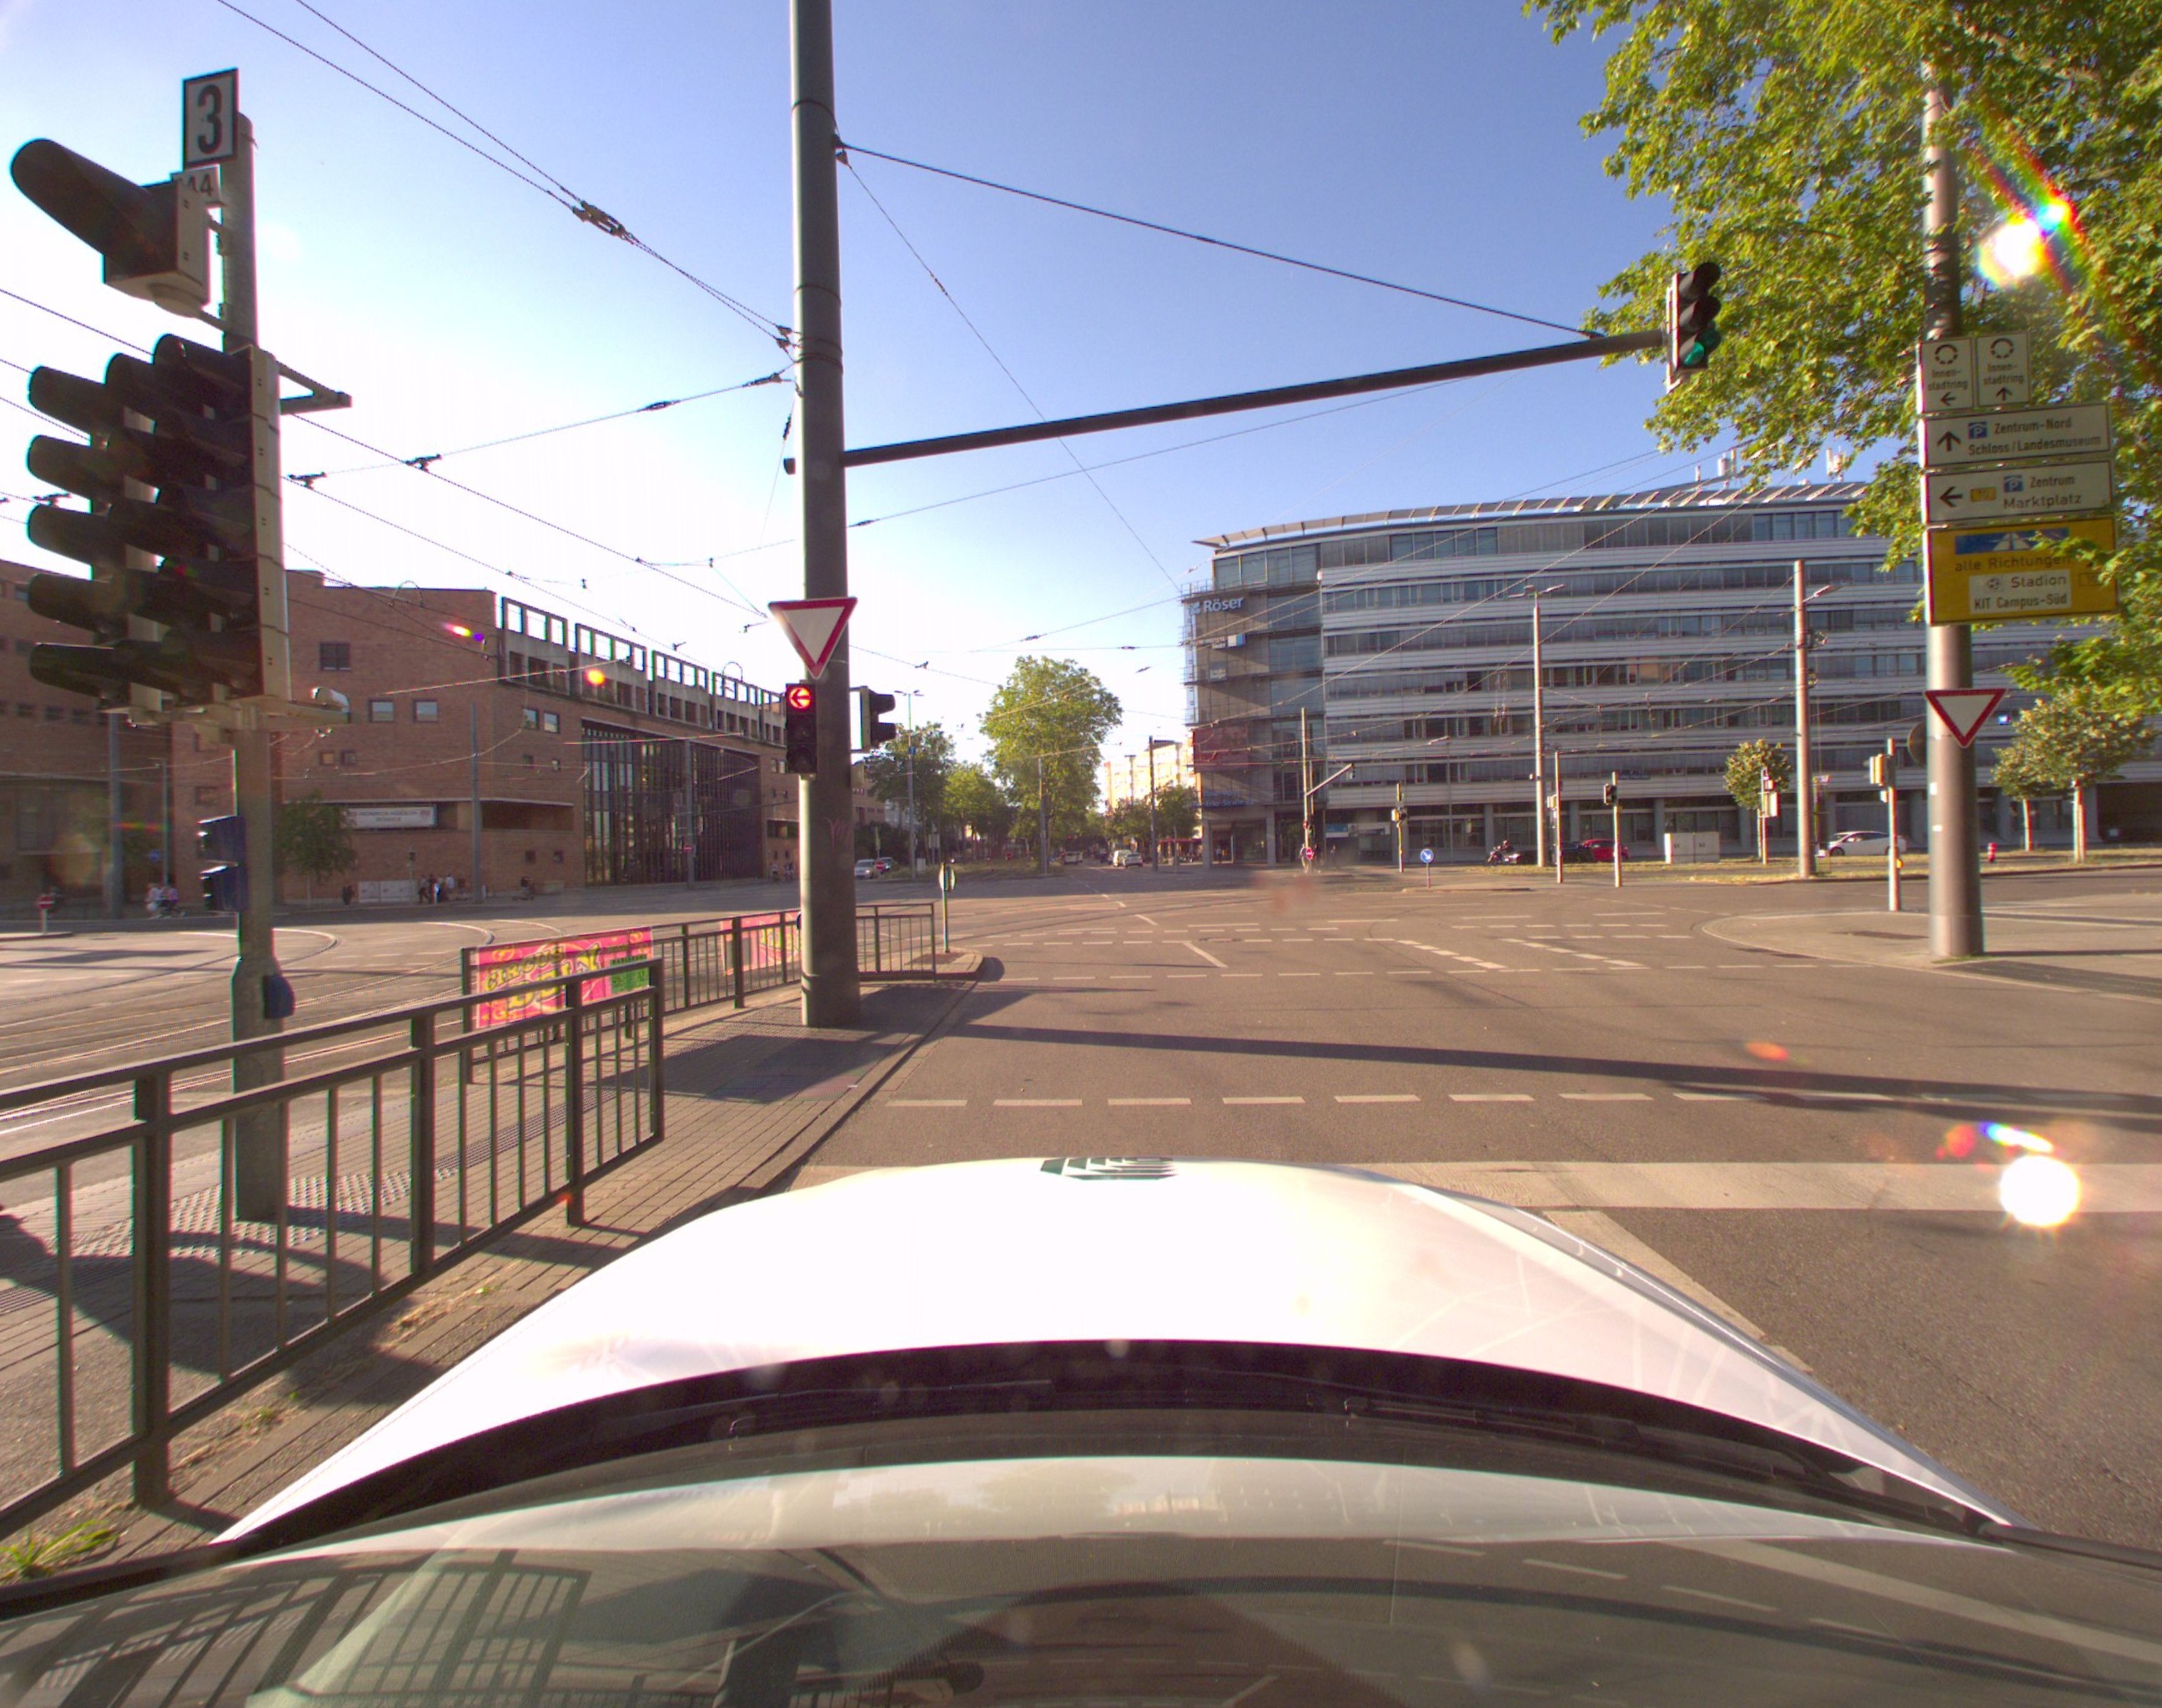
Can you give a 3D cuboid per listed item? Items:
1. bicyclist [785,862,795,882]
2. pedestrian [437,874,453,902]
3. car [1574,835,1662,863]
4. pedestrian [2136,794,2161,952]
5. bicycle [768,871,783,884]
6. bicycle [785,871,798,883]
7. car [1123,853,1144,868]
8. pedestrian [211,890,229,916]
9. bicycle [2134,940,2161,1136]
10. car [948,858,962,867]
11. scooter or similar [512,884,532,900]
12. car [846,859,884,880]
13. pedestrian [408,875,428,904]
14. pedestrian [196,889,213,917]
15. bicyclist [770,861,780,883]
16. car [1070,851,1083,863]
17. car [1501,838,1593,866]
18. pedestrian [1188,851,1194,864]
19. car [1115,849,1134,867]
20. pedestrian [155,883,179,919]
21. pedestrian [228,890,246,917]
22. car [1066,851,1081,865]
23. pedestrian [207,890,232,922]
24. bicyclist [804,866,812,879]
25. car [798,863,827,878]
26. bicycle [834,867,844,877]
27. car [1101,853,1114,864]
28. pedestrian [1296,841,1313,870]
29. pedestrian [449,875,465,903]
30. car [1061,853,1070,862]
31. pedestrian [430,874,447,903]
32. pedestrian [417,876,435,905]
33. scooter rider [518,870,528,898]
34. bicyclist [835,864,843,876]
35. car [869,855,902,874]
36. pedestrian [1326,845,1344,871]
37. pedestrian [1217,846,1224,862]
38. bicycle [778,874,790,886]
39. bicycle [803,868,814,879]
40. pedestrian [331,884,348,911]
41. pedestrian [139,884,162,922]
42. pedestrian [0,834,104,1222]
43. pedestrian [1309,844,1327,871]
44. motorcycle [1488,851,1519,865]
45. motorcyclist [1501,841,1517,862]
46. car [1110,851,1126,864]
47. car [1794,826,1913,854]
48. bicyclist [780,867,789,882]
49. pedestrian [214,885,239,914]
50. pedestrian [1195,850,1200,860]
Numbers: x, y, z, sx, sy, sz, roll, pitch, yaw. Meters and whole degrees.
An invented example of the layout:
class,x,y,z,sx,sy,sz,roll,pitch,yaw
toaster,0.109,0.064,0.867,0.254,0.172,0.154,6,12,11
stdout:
class,x,y,z,sx,sy,sz,roll,pitch,yaw
bicyclist,-23.410,1.421,65.525,0.456,1.603,0.581,-2,0,1
pedestrian,-39.835,2.128,51.014,0.590,1.683,0.502,-2,0,2
car,31.958,-0.280,48.527,3.966,1.393,1.789,-4,0,7
pedestrian,12.930,0.216,9.312,0.639,1.845,0.814,-2,0,0
bicycle,-24.466,1.886,65.203,0.540,0.963,1.587,-2,0,2
bicycle,-23.365,1.855,65.724,0.471,0.963,1.576,-2,0,2
car,5.289,0.620,82.817,1.986,1.376,4.002,-2,0,2
pedestrian,-47.062,2.684,44.525,0.547,1.409,0.577,-2,0,35
bicycle,5.726,0.933,3.285,0.558,0.981,1.871,-2,0,2
car,-25.119,1.702,162.929,1.986,1.816,4.002,-2,0,2
scooter or similar,-33.728,2.280,49.144,0.956,0.899,0.173,-2,0,-45
car,-18.004,1.283,67.947,1.987,1.640,4.001,-2,0,1
pedestrian,-40.197,2.163,49.389,0.618,1.683,0.650,-2,0,-1
pedestrian,-47.437,2.628,44.081,0.583,1.463,0.537,-2,0,39
bicyclist,-24.468,1.422,65.129,0.534,1.731,0.581,-2,0,1
car,-0.728,0.526,136.462,1.986,1.912,4.002,-2,0,2
car,26.429,-0.121,46.263,4.136,1.398,1.789,-2,0,7
pedestrian,14.165,0.461,104.800,0.741,1.714,0.612,-2,0,1
car,4.742,0.449,89.635,1.986,1.860,4.002,-2,0,2
pedestrian,-41.646,2.141,37.109,0.590,1.614,0.593,-2,0,31
pedestrian,-46.701,2.731,45.074,0.549,1.427,0.563,-2,0,31
car,-1.038,0.535,117.930,1.953,1.848,5.333,-2,0,2
pedestrian,-41.178,2.487,38.926,0.563,1.453,0.617,-2,0,19
bicyclist,-24.312,1.662,72.507,0.503,1.179,0.581,-2,0,1
car,-27.896,1.709,84.757,1.661,1.436,4.001,-2,0,1
bicycle,-24.380,1.797,81.944,0.490,0.963,1.487,-2,0,2
car,4.090,0.654,126.773,1.986,1.618,4.002,-2,0,2
pedestrian,13.931,0.101,50.671,0.859,1.788,0.873,-2,0,8
pedestrian,-38.651,2.149,50.451,0.572,1.683,0.546,-2,0,-7
car,-3.757,0.878,196.013,1.986,2.013,4.001,-2,0,1
pedestrian,-39.508,2.118,50.106,0.546,1.683,0.573,-2,0,-3
pedestrian,-38.968,2.159,48.478,0.548,1.683,0.591,-2,0,-4
scooter rider,-33.725,1.808,49.197,0.441,1.647,0.226,-2,0,-44
bicyclist,-24.378,1.576,82.007,0.503,1.210,0.581,-2,0,1
car,-18.117,0.963,75.522,1.987,1.640,4.001,-2,0,1
pedestrian,16.036,0.242,51.396,0.943,1.564,0.899,-2,0,8
pedestrian,13.011,-0.007,76.060,0.608,1.507,0.580,-2,0,10
bicycle,-25.114,2.216,68.939,0.466,0.963,1.320,-2,0,2
bicycle,-24.314,1.746,72.592,0.449,0.963,1.348,-2,0,2
pedestrian,-42.543,2.467,46.703,0.490,1.506,0.547,-2,0,-15
pedestrian,-41.367,2.156,36.210,0.593,1.648,0.552,-2,0,30
pedestrian,-5.481,0.820,3.664,1.093,1.748,0.738,-4,-1,-20
pedestrian,15.062,0.210,51.768,0.908,1.685,1.037,-2,0,6
motorcycle,25.446,0.239,49.018,1.560,0.810,0.468,-2,0,6
motorcyclist,25.754,-0.145,48.976,0.708,1.275,0.460,-2,0,5
car,4.818,0.476,105.291,1.986,1.618,4.002,-2,0,2
car,42.345,-0.728,44.706,4.580,1.336,1.789,-2,0,7
bicyclist,-25.134,1.741,68.985,0.503,1.304,0.581,-2,0,1
pedestrian,-40.253,2.139,38.370,0.596,1.339,0.686,-2,0,35
pedestrian,15.687,0.153,109.854,0.575,1.289,0.910,-2,0,2
